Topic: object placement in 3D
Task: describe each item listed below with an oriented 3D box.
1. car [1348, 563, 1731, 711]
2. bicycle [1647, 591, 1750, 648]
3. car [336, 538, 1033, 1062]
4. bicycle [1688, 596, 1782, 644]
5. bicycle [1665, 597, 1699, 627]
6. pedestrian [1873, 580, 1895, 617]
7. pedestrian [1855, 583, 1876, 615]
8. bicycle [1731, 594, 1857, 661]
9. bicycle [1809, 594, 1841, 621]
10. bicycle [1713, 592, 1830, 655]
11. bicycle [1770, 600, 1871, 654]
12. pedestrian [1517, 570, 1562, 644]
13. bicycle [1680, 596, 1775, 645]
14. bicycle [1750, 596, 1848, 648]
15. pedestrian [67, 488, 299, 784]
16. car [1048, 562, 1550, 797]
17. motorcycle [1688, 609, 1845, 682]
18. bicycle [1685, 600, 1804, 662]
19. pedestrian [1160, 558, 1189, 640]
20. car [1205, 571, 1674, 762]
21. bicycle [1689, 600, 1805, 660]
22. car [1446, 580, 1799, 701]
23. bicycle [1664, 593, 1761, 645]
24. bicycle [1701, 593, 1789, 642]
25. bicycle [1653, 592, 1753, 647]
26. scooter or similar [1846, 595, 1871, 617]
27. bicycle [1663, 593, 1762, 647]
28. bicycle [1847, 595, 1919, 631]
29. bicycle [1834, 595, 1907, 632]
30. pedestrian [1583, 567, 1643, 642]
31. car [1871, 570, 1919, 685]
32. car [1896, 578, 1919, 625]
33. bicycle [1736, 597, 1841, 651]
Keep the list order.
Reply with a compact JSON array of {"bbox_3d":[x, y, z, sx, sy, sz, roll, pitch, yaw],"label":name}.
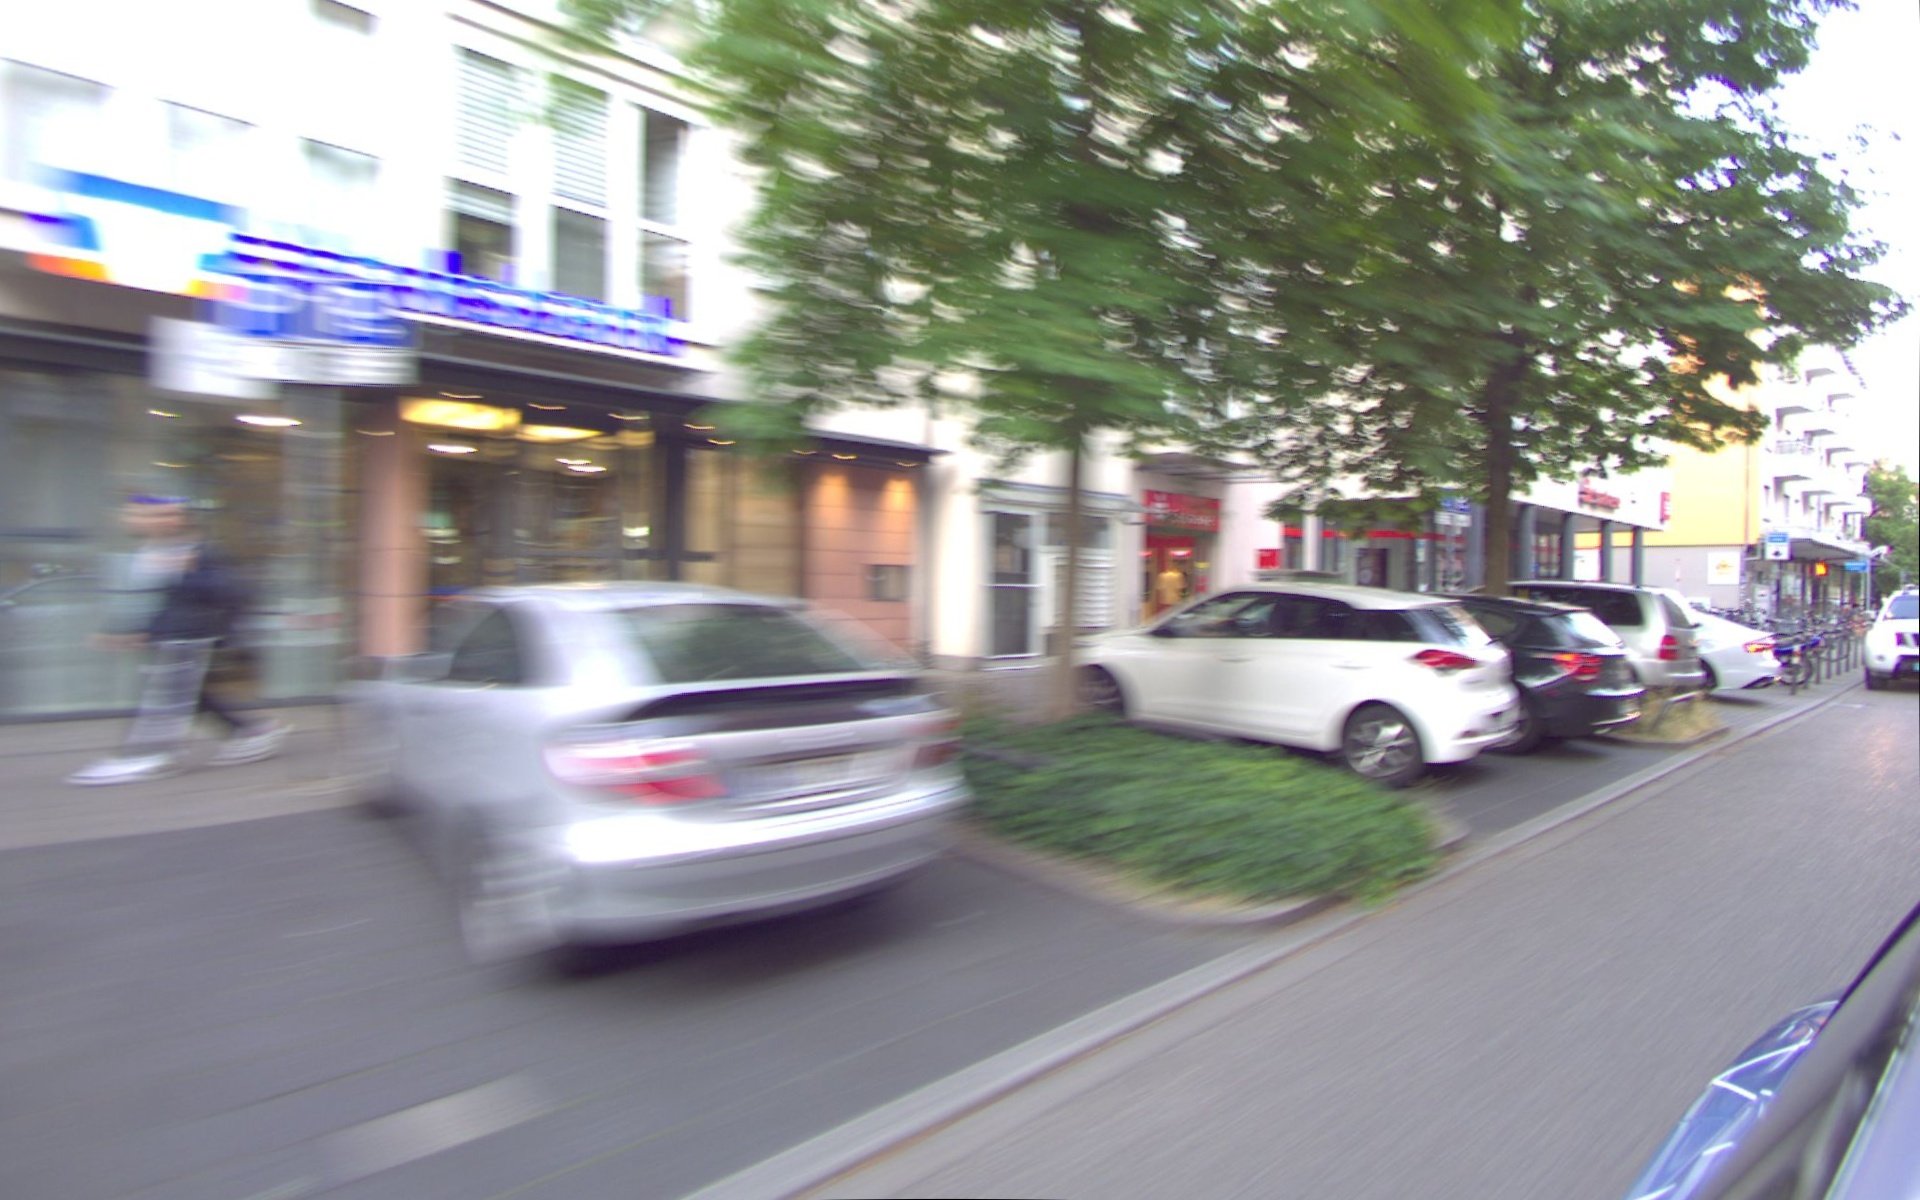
[{"bbox_3d":[8.089,0.389,14.474,1.717,1.668,4.406,0,3,-42],"label":"car"},{"bbox_3d":[16.414,0.418,22.521,0.643,1.131,1.723,-1,3,-45],"label":"bicycle"},{"bbox_3d":[-1.739,0.501,5.139,1.849,1.470,4.097,1,3,-40],"label":"car"},{"bbox_3d":[19.406,0.485,25.373,0.642,1.066,1.727,0,3,-39],"label":"bicycle"},{"bbox_3d":[27.512,0.448,38.552,1.725,1.080,0.564,-2,2,-38],"label":"bicycle"},{"bbox_3d":[48.078,-0.090,52.672,0.846,1.850,0.709,-1,3,-43],"label":"pedestrian"},{"bbox_3d":[47.854,-0.060,53.500,0.732,1.686,0.709,-1,3,-43],"label":"pedestrian"},{"bbox_3d":[17.583,0.551,21.381,0.729,1.196,1.876,0,5,-37],"label":"bicycle"},{"bbox_3d":[41.354,0.353,48.385,0.907,1.210,1.691,3,3,33],"label":"bicycle"},{"bbox_3d":[17.883,0.495,22.340,0.719,1.196,1.797,0,5,-32],"label":"bicycle"},{"bbox_3d":[20.337,0.622,23.950,0.695,1.131,1.724,-1,3,-44],"label":"bicycle"},{"bbox_3d":[14.098,0.170,24.631,0.651,1.745,0.664,2,0,6],"label":"pedestrian"},{"bbox_3d":[18.900,0.479,24.948,0.642,1.066,1.727,0,3,-39],"label":"bicycle"},{"bbox_3d":[20.620,0.513,24.902,0.694,1.131,1.727,0,3,-39],"label":"bicycle"},{"bbox_3d":[-4.970,0.186,6.518,0.721,1.737,0.956,2,2,22],"label":"pedestrian"},{"bbox_3d":[2.824,0.504,8.934,3.794,1.470,1.708,5,3,43],"label":"car"},{"bbox_3d":[14.141,0.770,17.833,2.049,1.091,0.656,3,3,33],"label":"motorcycle"},{"bbox_3d":[15.827,0.599,20.458,0.555,1.034,1.778,-1,5,-39],"label":"bicycle"},{"bbox_3d":[4.732,-0.035,22.316,0.579,1.775,0.625,0,1,15],"label":"pedestrian"},{"bbox_3d":[4.769,0.510,10.463,1.798,1.474,3.991,0,3,-44],"label":"car"},{"bbox_3d":[16.240,0.590,20.914,0.655,1.043,1.724,-1,5,-39],"label":"bicycle"},{"bbox_3d":[10.301,0.522,15.967,4.422,1.473,1.753,4,3,42],"label":"car"},{"bbox_3d":[18.002,0.434,24.245,0.642,1.131,1.727,0,3,-39],"label":"bicycle"},{"bbox_3d":[20.166,0.430,26.035,1.718,1.145,0.571,3,3,36],"label":"bicycle"},{"bbox_3d":[16.896,0.422,23.046,0.643,1.131,1.723,-1,3,-45],"label":"bicycle"},{"bbox_3d":[51.266,0.342,57.753,1.139,1.219,0.538,1,0,-16],"label":"scooter or similar"},{"bbox_3d":[17.665,0.439,23.782,0.642,1.131,1.727,0,3,-39],"label":"bicycle"},{"bbox_3d":[33.168,0.449,36.387,0.644,1.148,1.948,1,3,-6],"label":"bicycle"},{"bbox_3d":[32.307,0.460,35.962,0.644,1.148,1.948,1,3,-6],"label":"bicycle"},{"bbox_3d":[15.866,0.109,24.610,0.899,1.744,0.773,3,1,11],"label":"pedestrian"},{"bbox_3d":[17.938,0.426,18.062,5.179,1.876,1.914,-1,1,-41],"label":"car"},{"bbox_3d":[43.145,0.092,44.866,4.917,1.998,1.962,0,2,-43],"label":"car"},{"bbox_3d":[19.445,0.542,23.783,0.695,1.131,1.811,-1,3,-44],"label":"bicycle"}]
